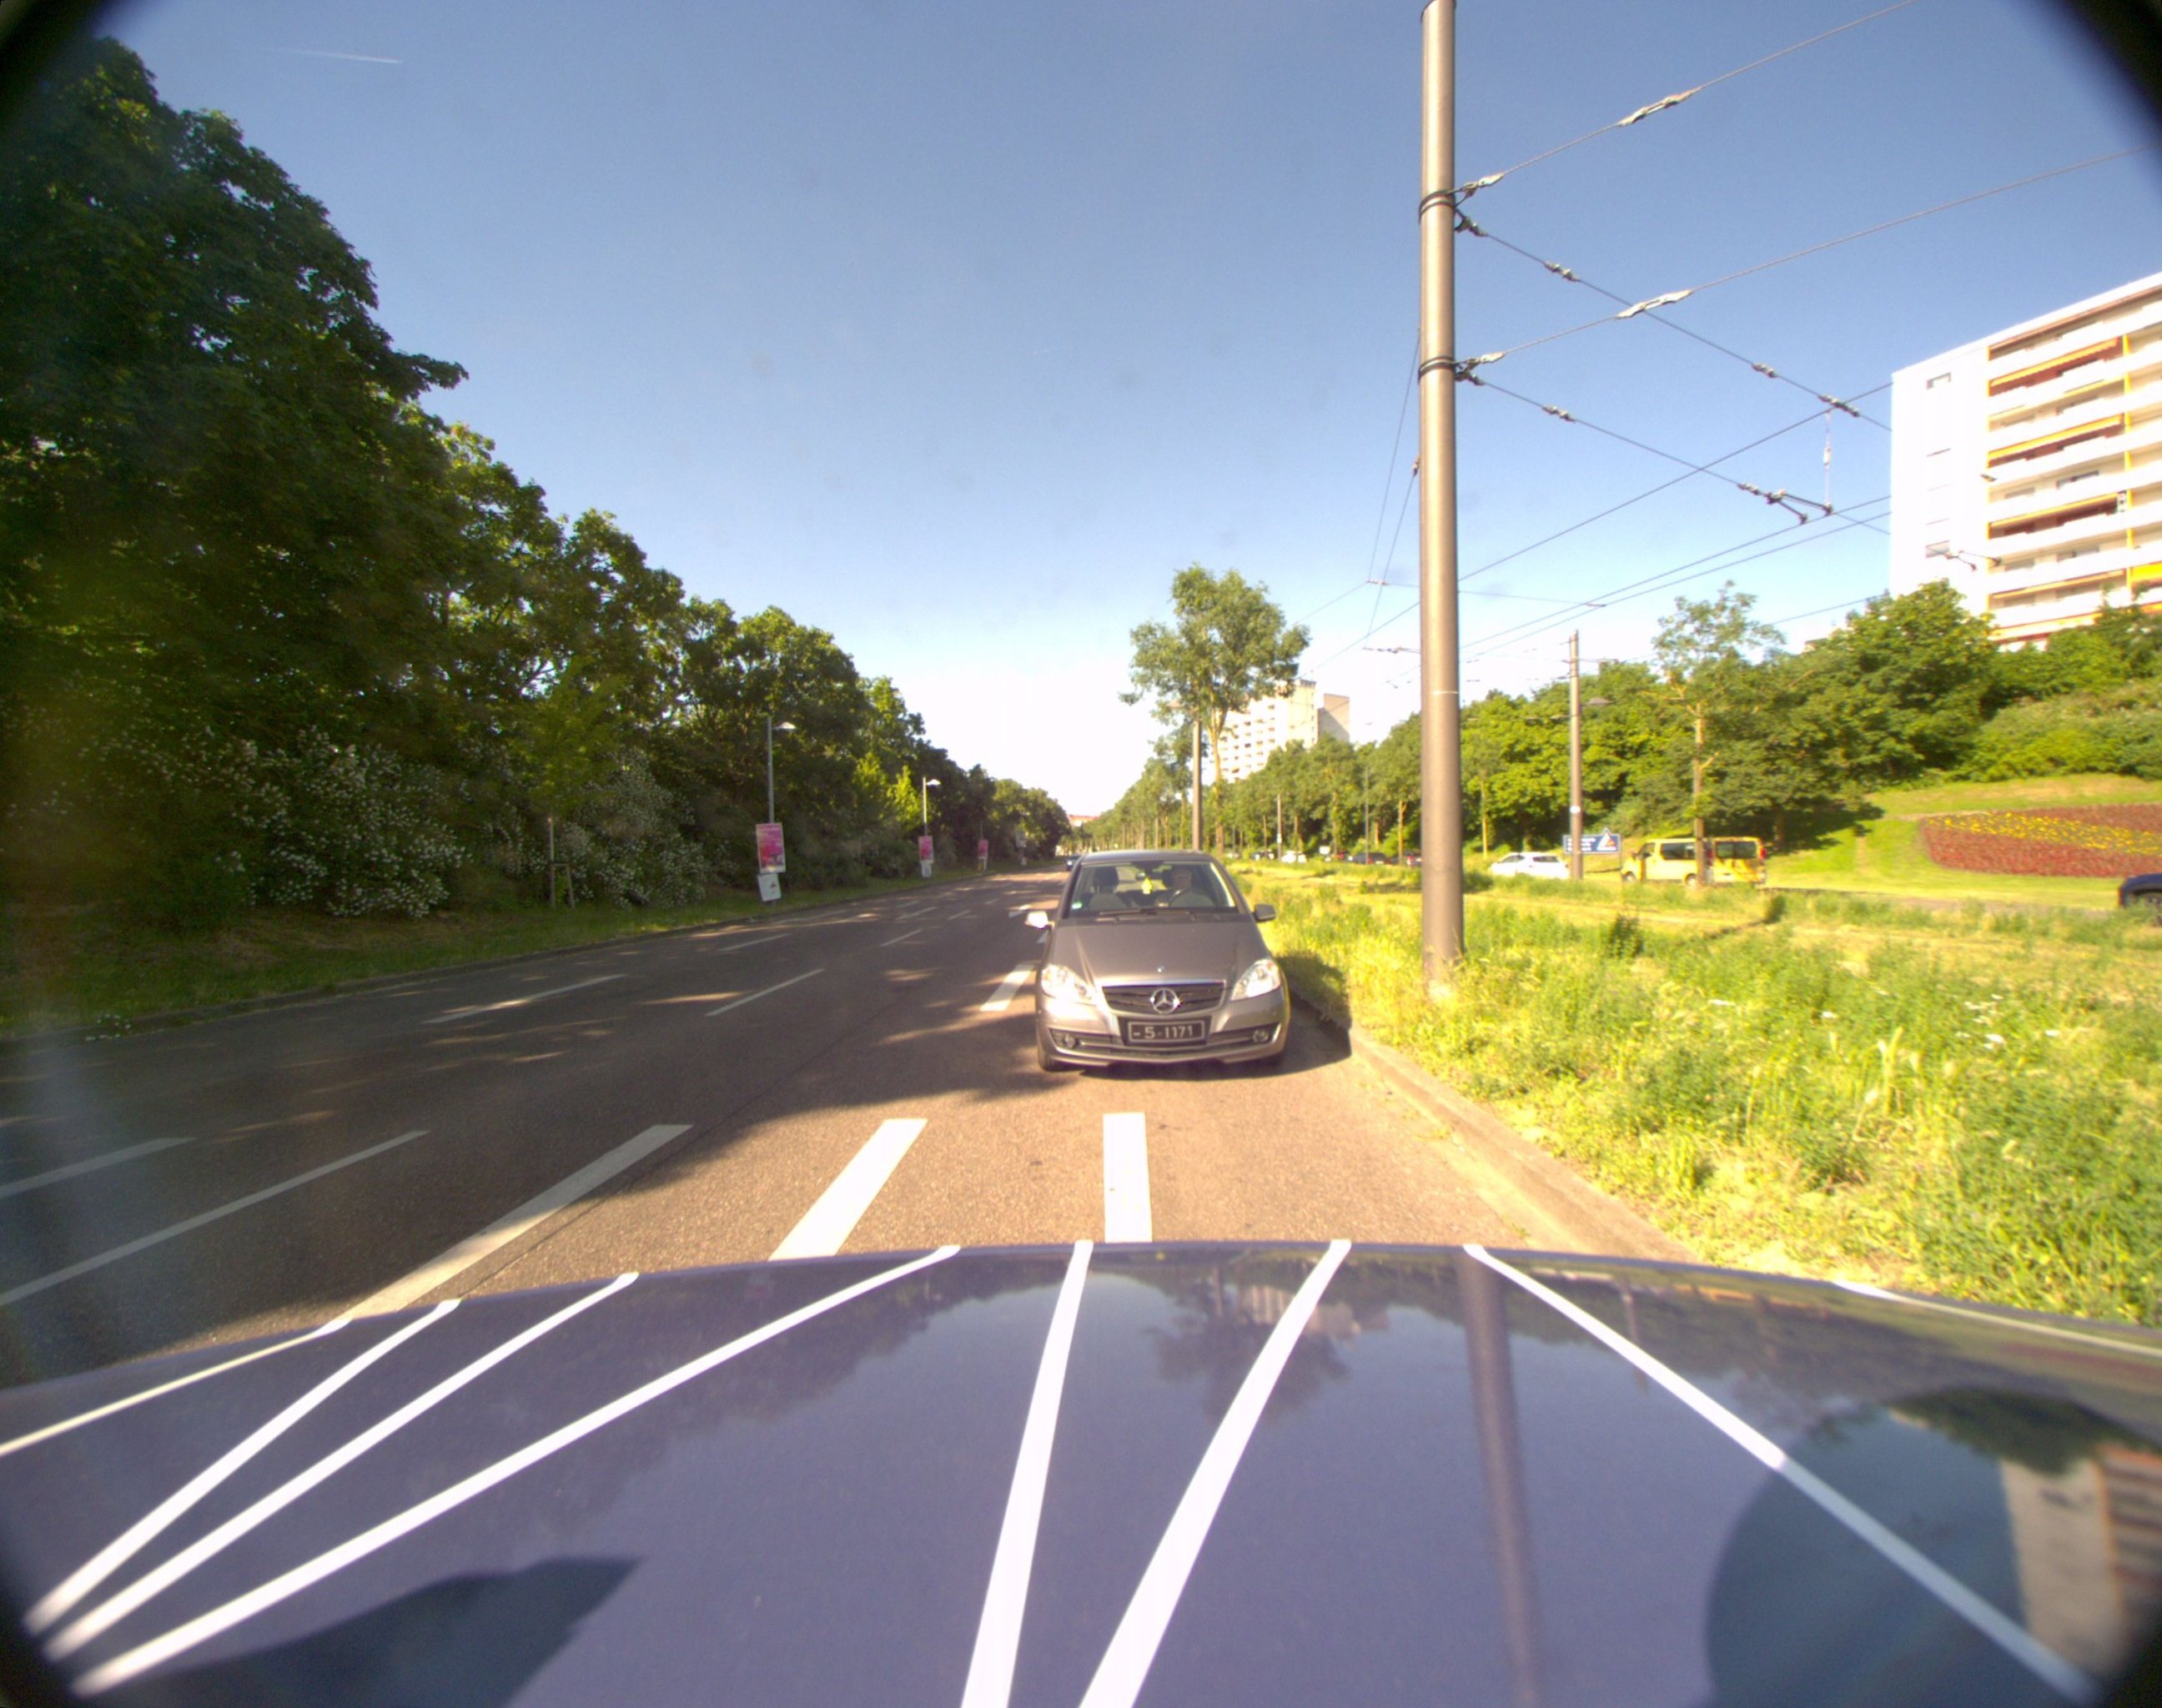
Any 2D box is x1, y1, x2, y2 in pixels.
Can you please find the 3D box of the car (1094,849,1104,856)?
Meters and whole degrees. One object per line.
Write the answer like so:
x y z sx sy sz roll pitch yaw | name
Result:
5.658 -0.527 238.858 1.944 2.002 3.994 -1 0 -17 | car

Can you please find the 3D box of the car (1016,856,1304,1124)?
0.516 0.853 6.645 1.759 1.612 3.880 -1 0 1 | car

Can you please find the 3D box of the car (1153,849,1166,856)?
18.231 -0.391 176.677 1.911 1.652 3.996 -1 0 -11 | car

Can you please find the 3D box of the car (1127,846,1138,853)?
14.345 -1.257 211.287 1.884 1.755 3.995 -1 0 -13 | car

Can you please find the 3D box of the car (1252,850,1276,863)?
20.428 0.266 84.978 1.825 1.353 4.230 -1 0 3 | car

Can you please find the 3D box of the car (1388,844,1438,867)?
22.917 0.111 52.593 1.792 1.499 4.241 -1 0 3 | car

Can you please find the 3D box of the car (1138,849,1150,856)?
15.557 -0.411 187.840 1.911 1.652 3.996 -1 0 -10 | car

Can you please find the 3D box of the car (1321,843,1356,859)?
22.976 -0.262 68.047 1.867 1.410 4.000 -1 0 2 | car

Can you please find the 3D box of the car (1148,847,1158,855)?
15.854 -0.631 167.270 1.882 1.755 4.000 -1 0 1 | car

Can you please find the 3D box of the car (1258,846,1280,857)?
23.290 -0.304 94.232 1.847 1.390 4.000 -1 0 2 | car

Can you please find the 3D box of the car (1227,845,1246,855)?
22.631 -0.599 110.822 1.998 1.477 4.000 -1 0 1 | car

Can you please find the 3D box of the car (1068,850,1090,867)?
-0.175 0.402 70.989 1.875 1.428 4.594 -1 0 2 | car

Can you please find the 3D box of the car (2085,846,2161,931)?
21.155 0.636 13.207 1.998 1.565 4.106 -1 0 1 | car

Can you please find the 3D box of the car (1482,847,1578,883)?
18.839 0.425 32.098 1.693 1.399 4.021 -1 0 1 | car

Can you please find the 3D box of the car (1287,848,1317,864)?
20.456 0.152 70.470 1.867 1.410 4.000 -1 0 3 | car

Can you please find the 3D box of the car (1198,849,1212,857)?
21.425 -0.188 131.786 1.802 1.455 4.000 -1 0 1 | car

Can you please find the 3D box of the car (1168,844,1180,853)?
19.393 -1.080 158.470 1.882 1.755 4.000 -1 0 1 | car

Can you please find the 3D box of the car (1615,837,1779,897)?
21.935 0.420 27.372 1.998 1.955 4.907 0 0 1 | car

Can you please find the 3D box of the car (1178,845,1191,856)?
18.270 -0.638 134.104 1.882 1.755 4.000 -1 0 1 | car

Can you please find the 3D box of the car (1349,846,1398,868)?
19.660 0.174 51.238 1.799 1.408 4.310 -1 0 2 | car
